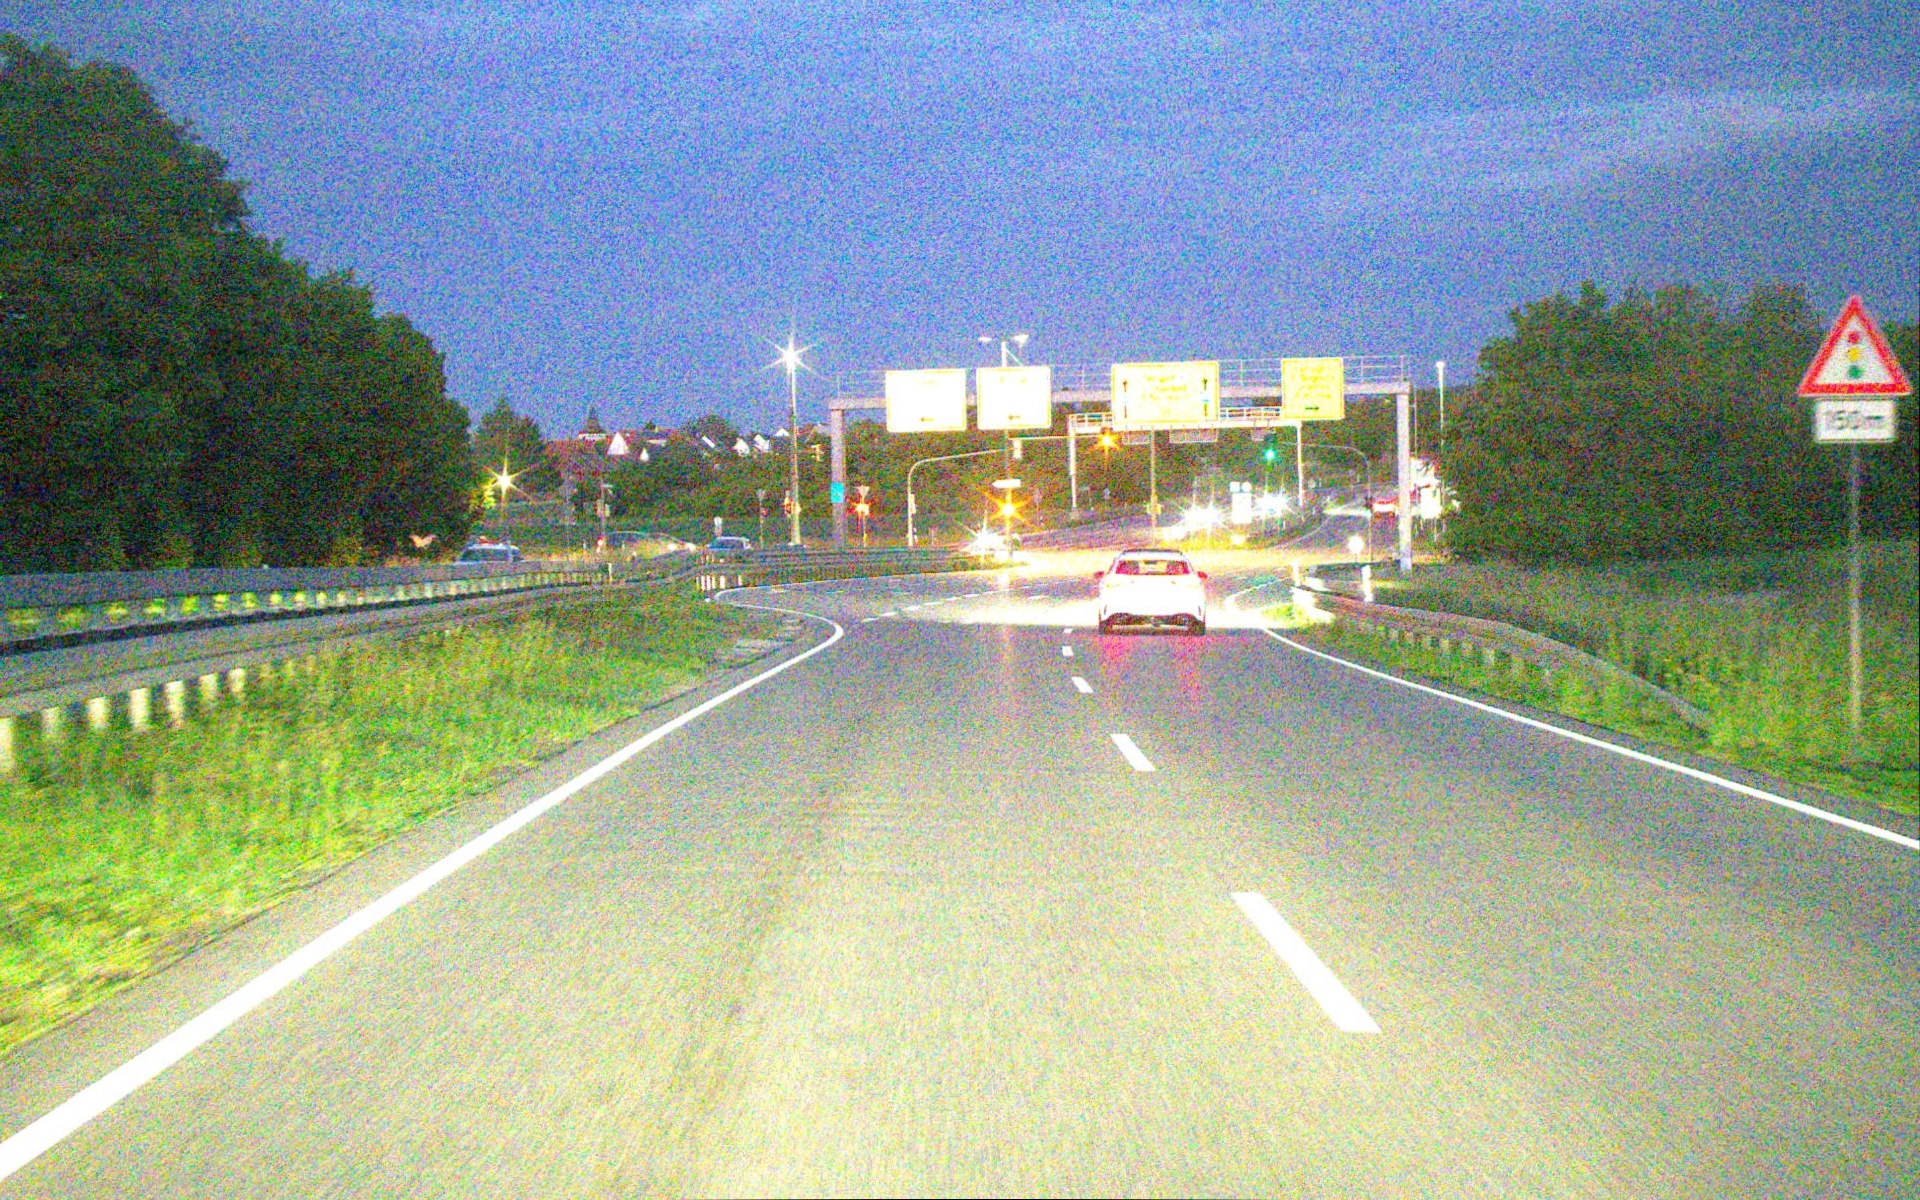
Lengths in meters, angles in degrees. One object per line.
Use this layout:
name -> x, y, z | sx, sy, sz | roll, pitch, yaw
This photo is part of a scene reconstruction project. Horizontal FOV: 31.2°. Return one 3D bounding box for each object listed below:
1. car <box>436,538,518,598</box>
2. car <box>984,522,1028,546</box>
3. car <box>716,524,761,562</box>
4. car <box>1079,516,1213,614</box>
car -> -13.861, -0.936, 98.935 | 1.770, 1.635, 4.661 | -1, 1, -1
car -> 2.853, -4.073, 212.541 | 1.994, 1.420, 4.531 | 0, 2, 10
car -> -9.607, -2.495, 149.387 | 1.701, 1.617, 4.307 | 0, 1, 0
car -> 3.141, -0.612, 58.739 | 2.007, 1.605, 3.845 | 0, 1, -1
